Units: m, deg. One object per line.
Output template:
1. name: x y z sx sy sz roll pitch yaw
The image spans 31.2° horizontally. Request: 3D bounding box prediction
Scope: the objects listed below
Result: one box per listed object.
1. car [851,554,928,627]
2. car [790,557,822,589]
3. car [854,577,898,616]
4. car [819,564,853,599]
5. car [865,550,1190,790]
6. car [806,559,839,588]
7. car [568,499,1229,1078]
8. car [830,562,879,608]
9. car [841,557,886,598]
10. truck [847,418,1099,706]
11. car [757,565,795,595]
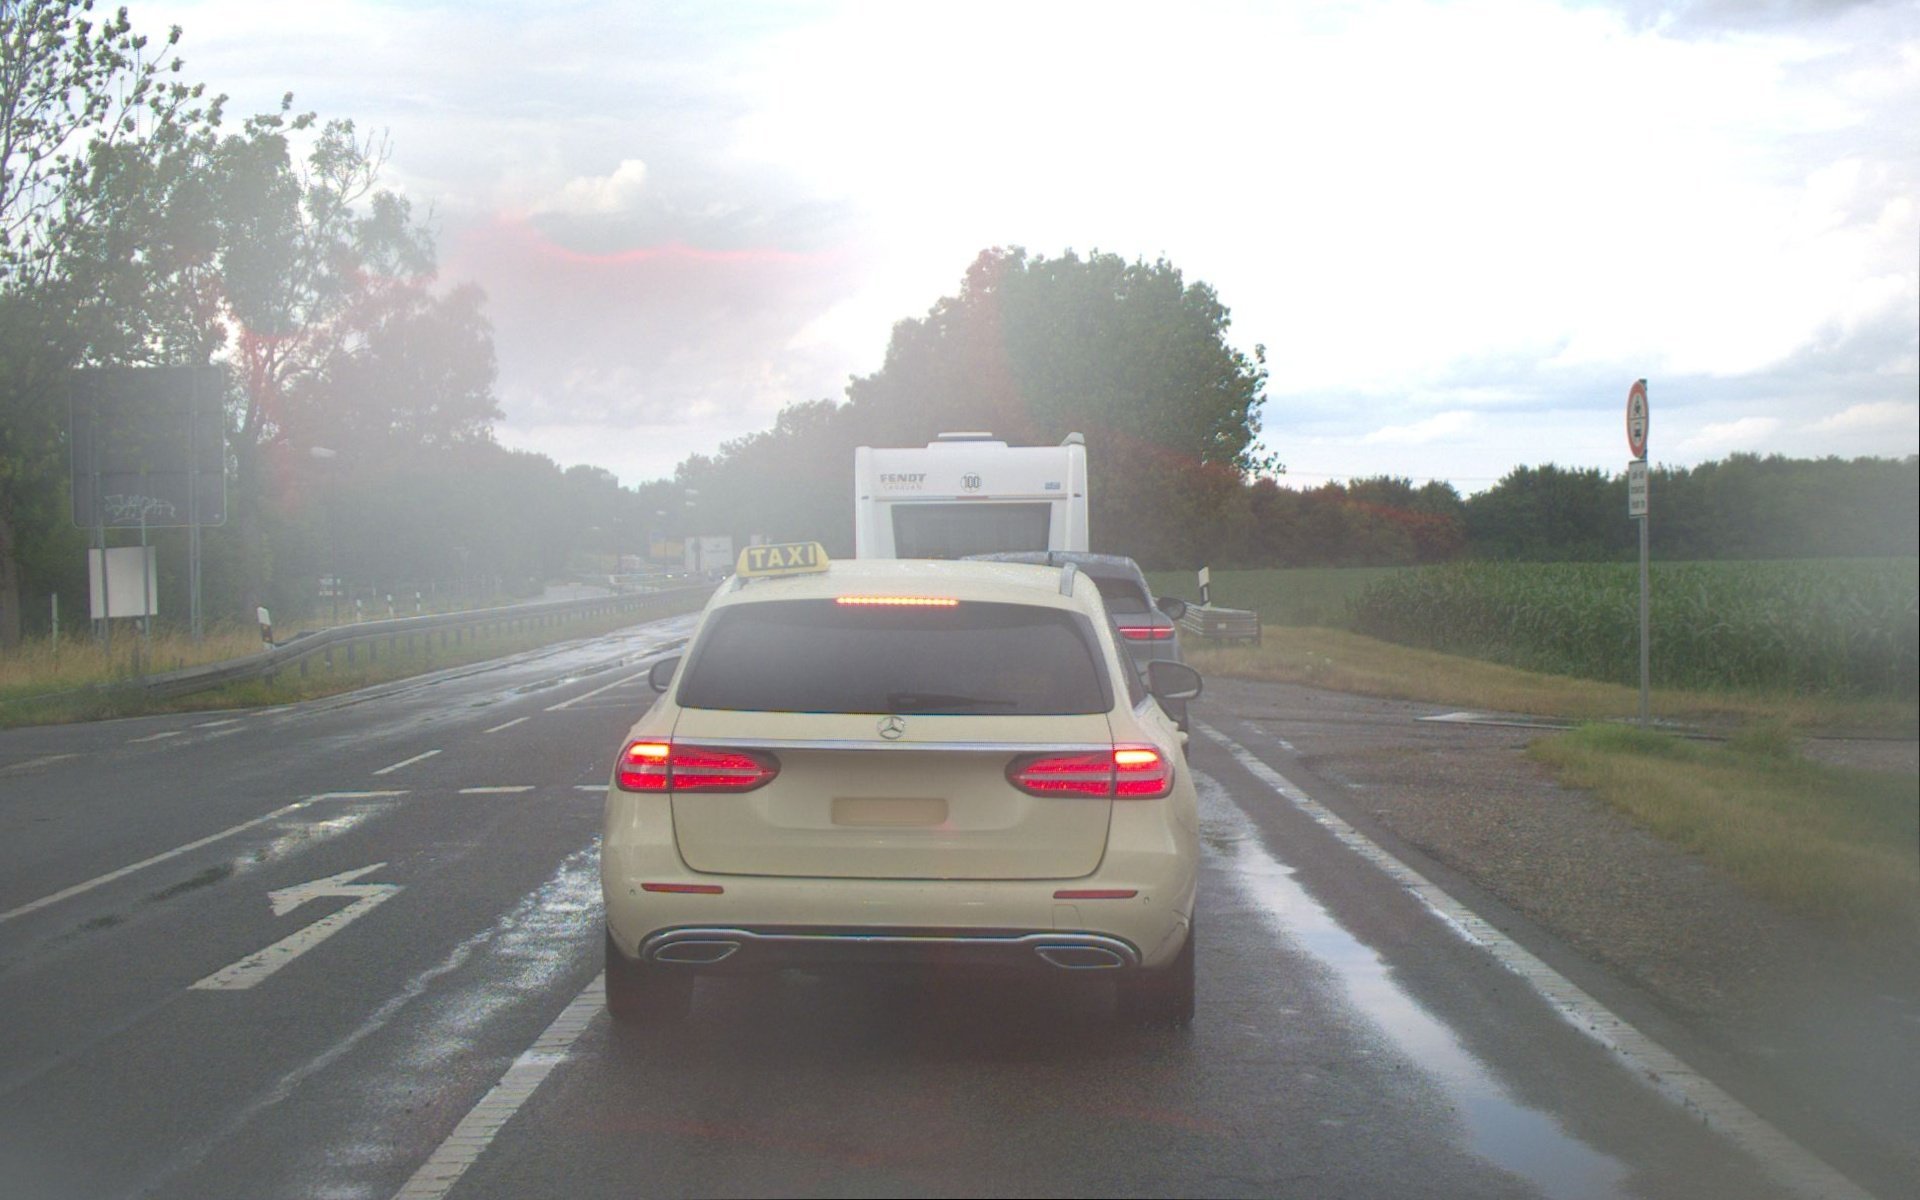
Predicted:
1. car: -1.812 -0.270 89.650 1.915 1.834 3.796 -1 1 0
2. car: -9.599 -1.687 213.728 1.895 1.888 3.844 -1 1 -4
3. car: -3.988 -0.155 163.074 1.993 1.766 4.000 -1 1 -2
4. car: -6.822 -1.051 189.207 1.740 1.853 3.785 -1 1 -1
5. car: 0.394 0.416 23.300 1.993 1.457 4.000 1 0 -1
6. car: -8.155 -1.585 203.429 1.748 1.656 3.673 -1 1 -5
7. car: -0.194 0.508 11.622 1.842 1.612 4.000 0 1 -1
8. car: -4.119 -0.604 134.763 1.791 1.771 3.721 -1 1 -1
9. car: -4.243 -1.009 151.645 1.879 1.755 3.834 -1 1 -1
10. truck: 0.088 -0.415 36.645 2.363 2.719 7.314 -1 1 -1
11. car: -9.991 -1.081 186.990 1.828 1.568 4.000 1 0 0
